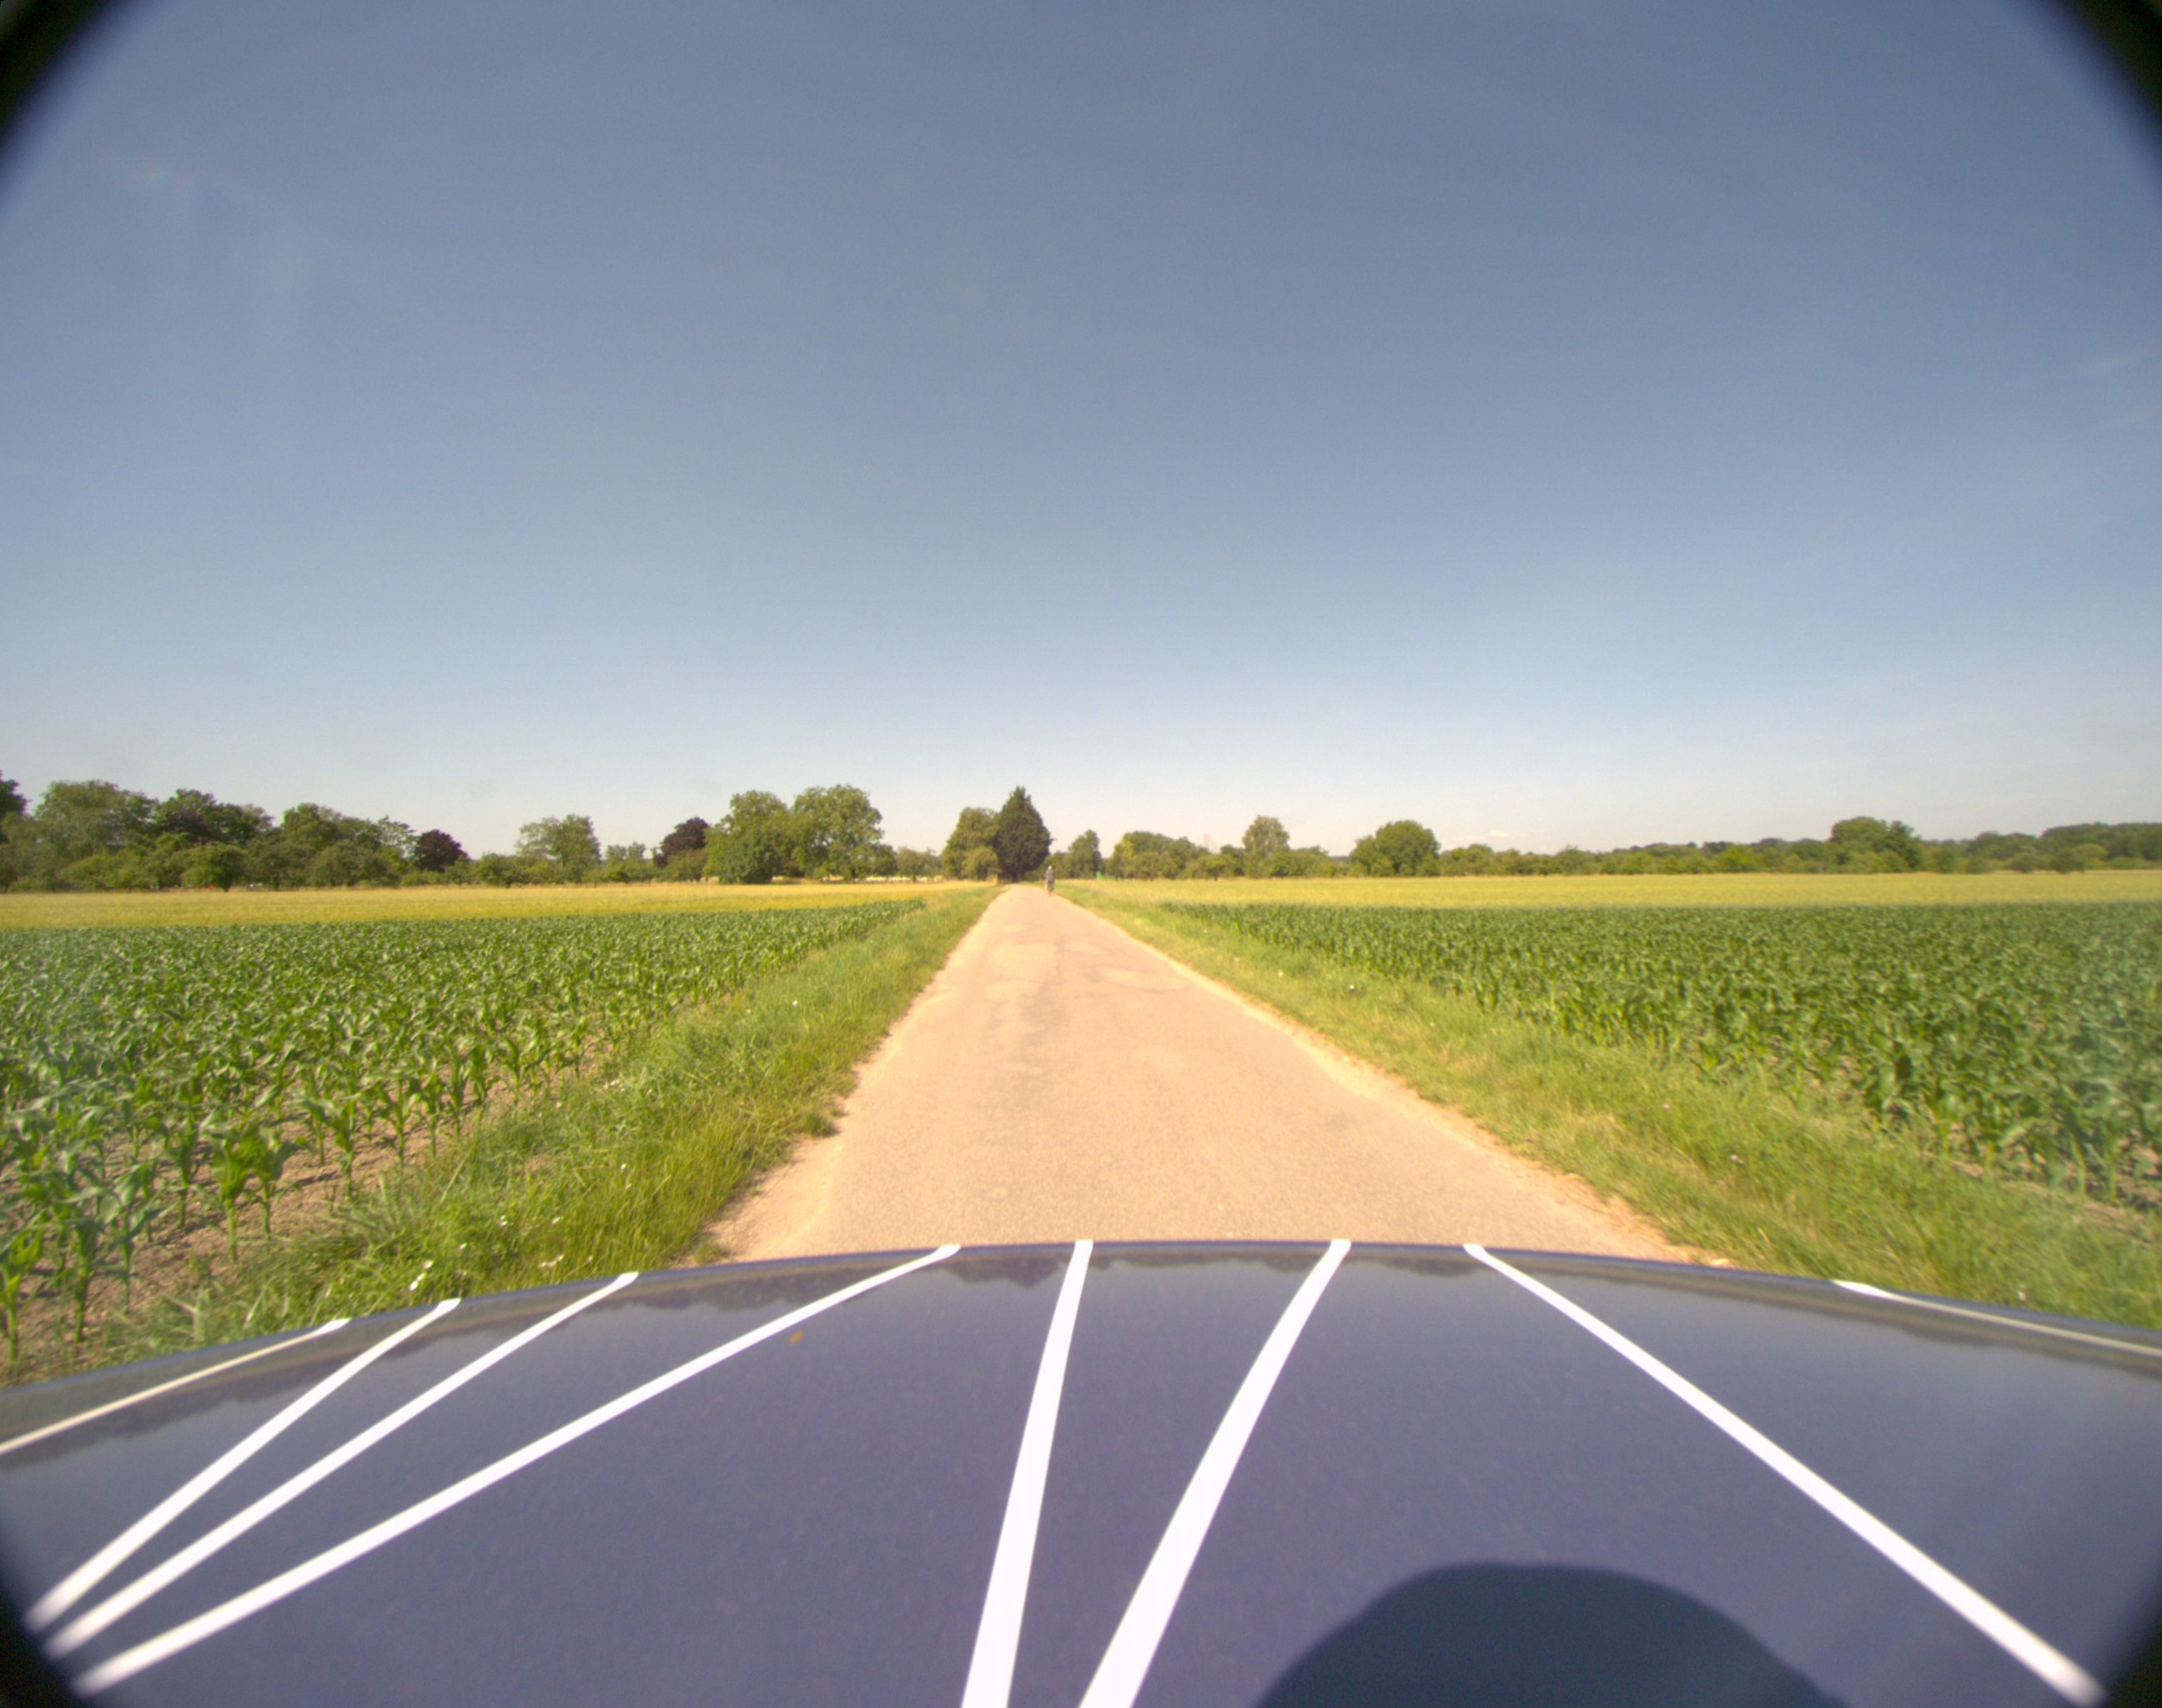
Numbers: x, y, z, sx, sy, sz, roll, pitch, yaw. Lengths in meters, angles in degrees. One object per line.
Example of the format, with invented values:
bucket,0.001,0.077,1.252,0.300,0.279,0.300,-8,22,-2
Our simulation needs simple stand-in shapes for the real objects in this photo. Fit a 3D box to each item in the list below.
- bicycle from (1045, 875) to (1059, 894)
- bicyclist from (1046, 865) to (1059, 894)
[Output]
bicycle,-1.790,1.911,47.418,0.752,1.121,1.908,1,-1,0
bicyclist,-1.786,1.593,47.421,0.752,1.780,0.717,1,0,0
